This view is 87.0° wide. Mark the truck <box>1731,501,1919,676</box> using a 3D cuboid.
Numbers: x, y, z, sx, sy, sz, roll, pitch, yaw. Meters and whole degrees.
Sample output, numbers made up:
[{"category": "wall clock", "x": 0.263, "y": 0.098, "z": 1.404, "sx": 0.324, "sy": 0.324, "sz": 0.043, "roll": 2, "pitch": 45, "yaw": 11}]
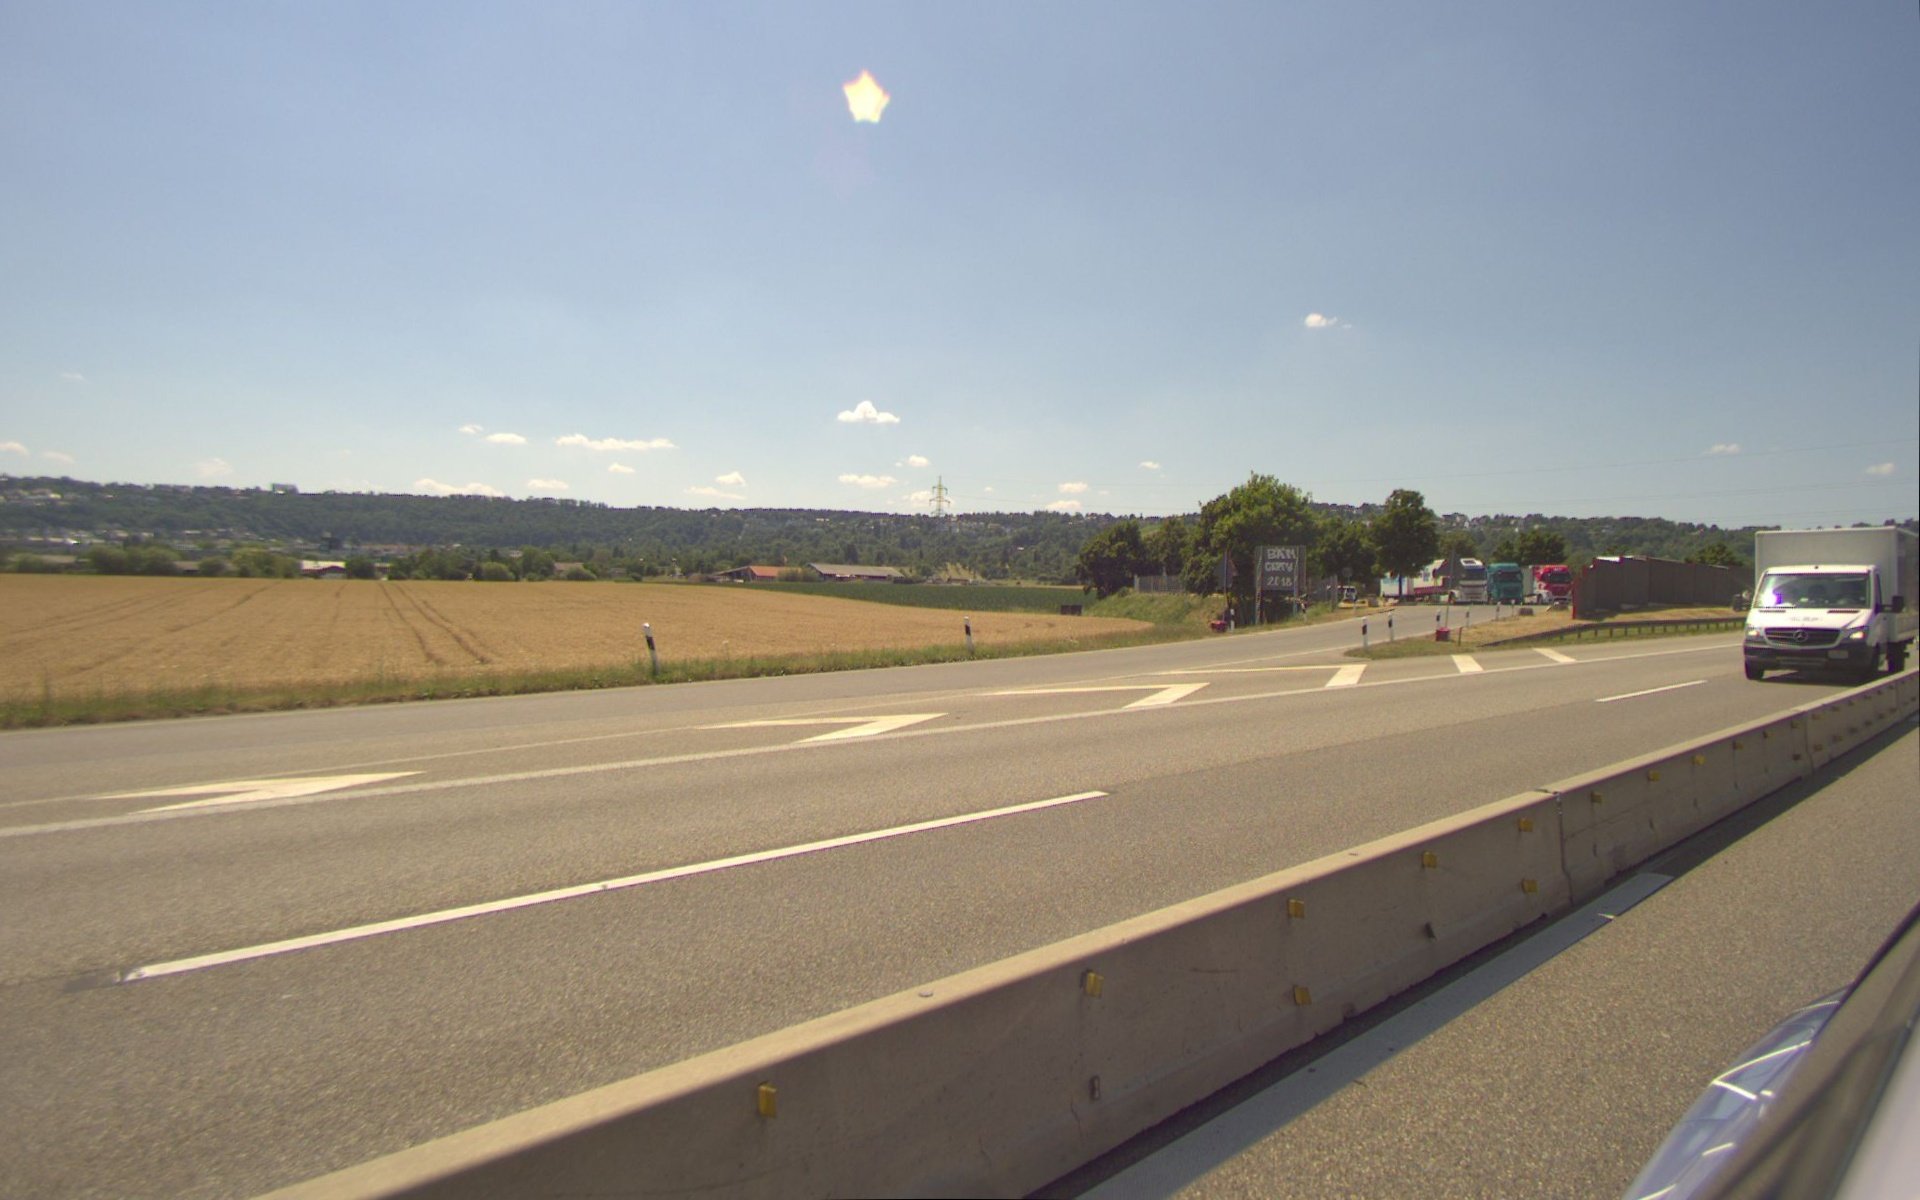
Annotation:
[{"category": "truck", "x": 18.257, "y": -0.155, "z": 20.941, "sx": 6.631, "sy": 3.107, "sz": 2.325, "roll": 1, "pitch": -1, "yaw": -41}]
